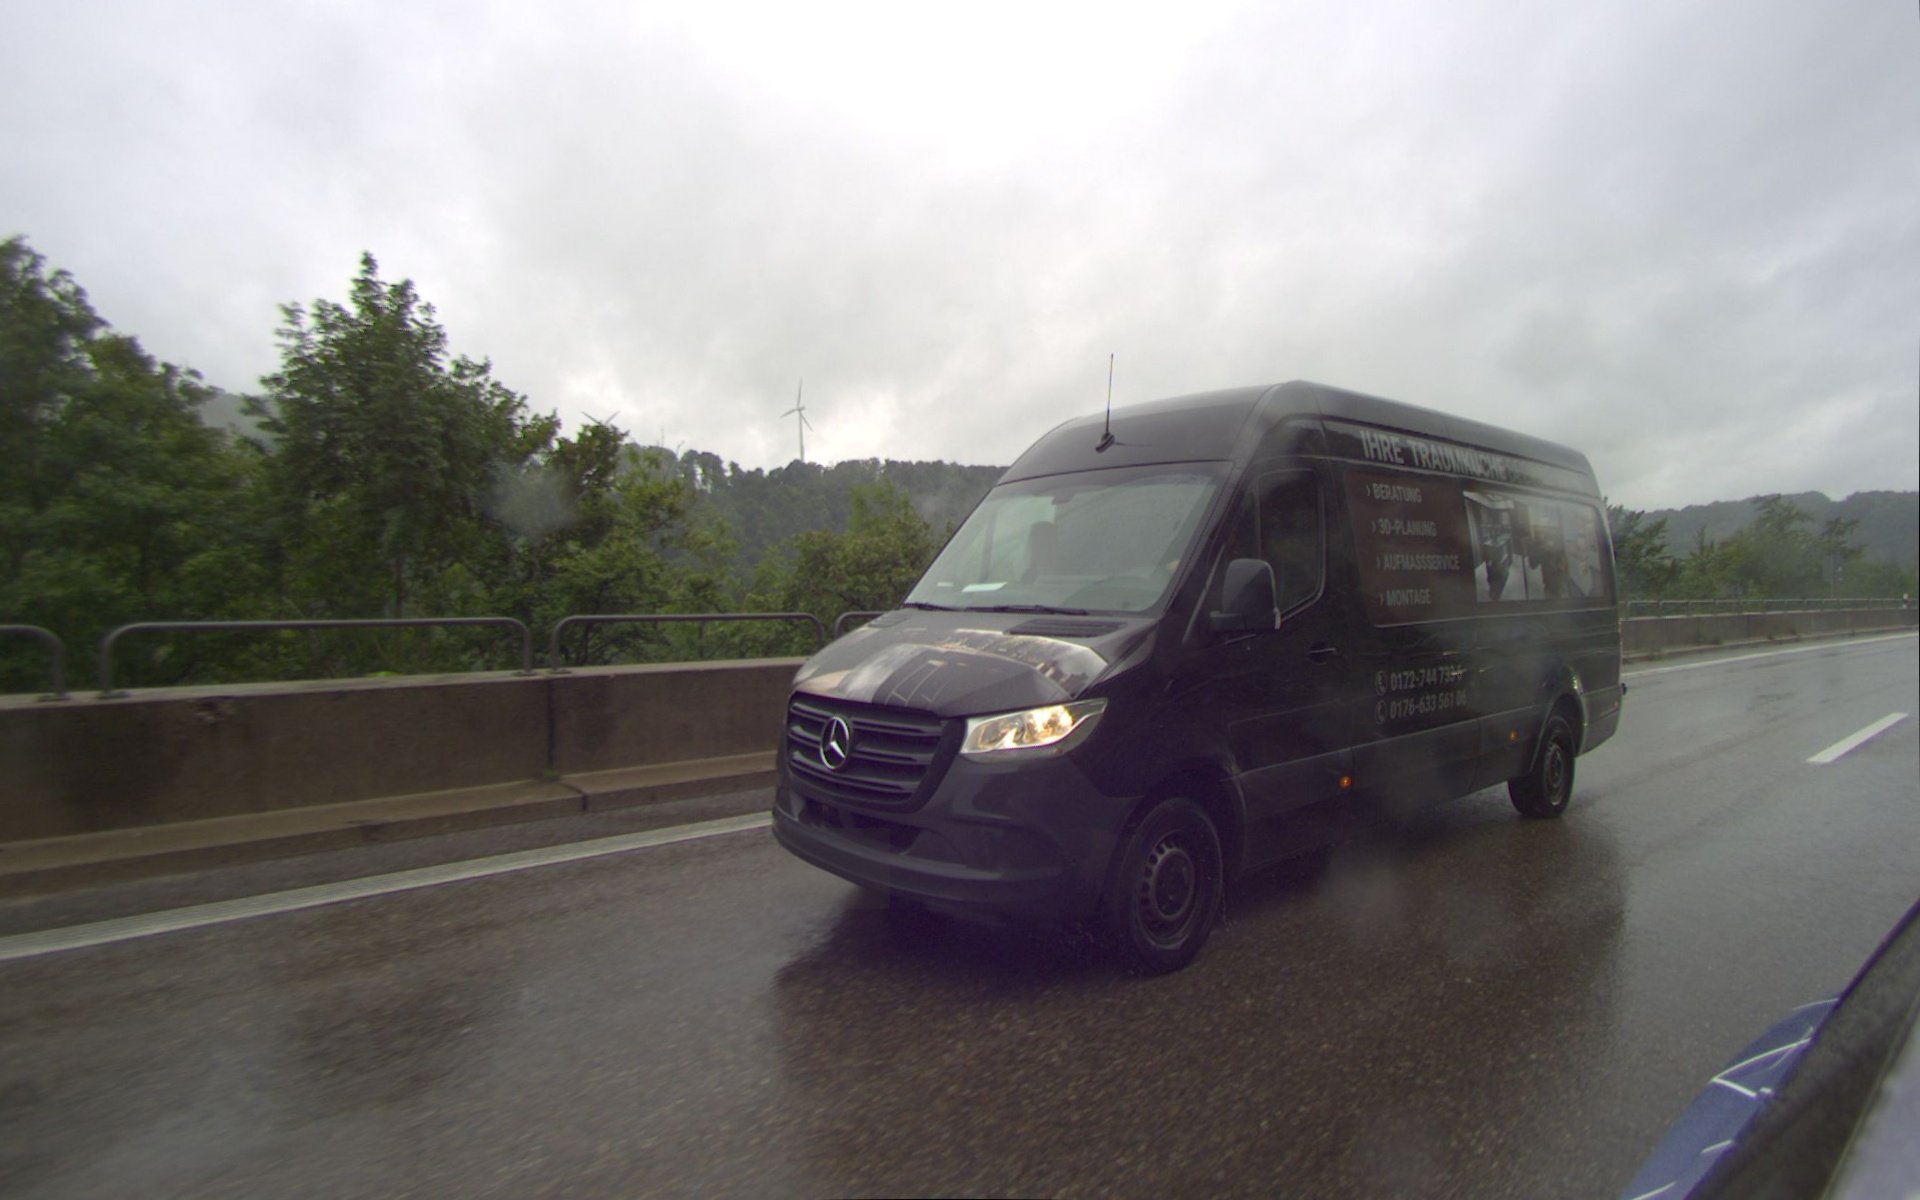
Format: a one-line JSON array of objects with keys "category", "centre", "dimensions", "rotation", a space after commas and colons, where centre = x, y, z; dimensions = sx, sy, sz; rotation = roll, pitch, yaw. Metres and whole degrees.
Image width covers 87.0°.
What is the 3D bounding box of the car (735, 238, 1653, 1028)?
[{"category": "car", "centre": [2.069, 0.059, 6.177], "dimensions": [6.589, 2.525, 1.997], "rotation": [0, 2, -42]}]
